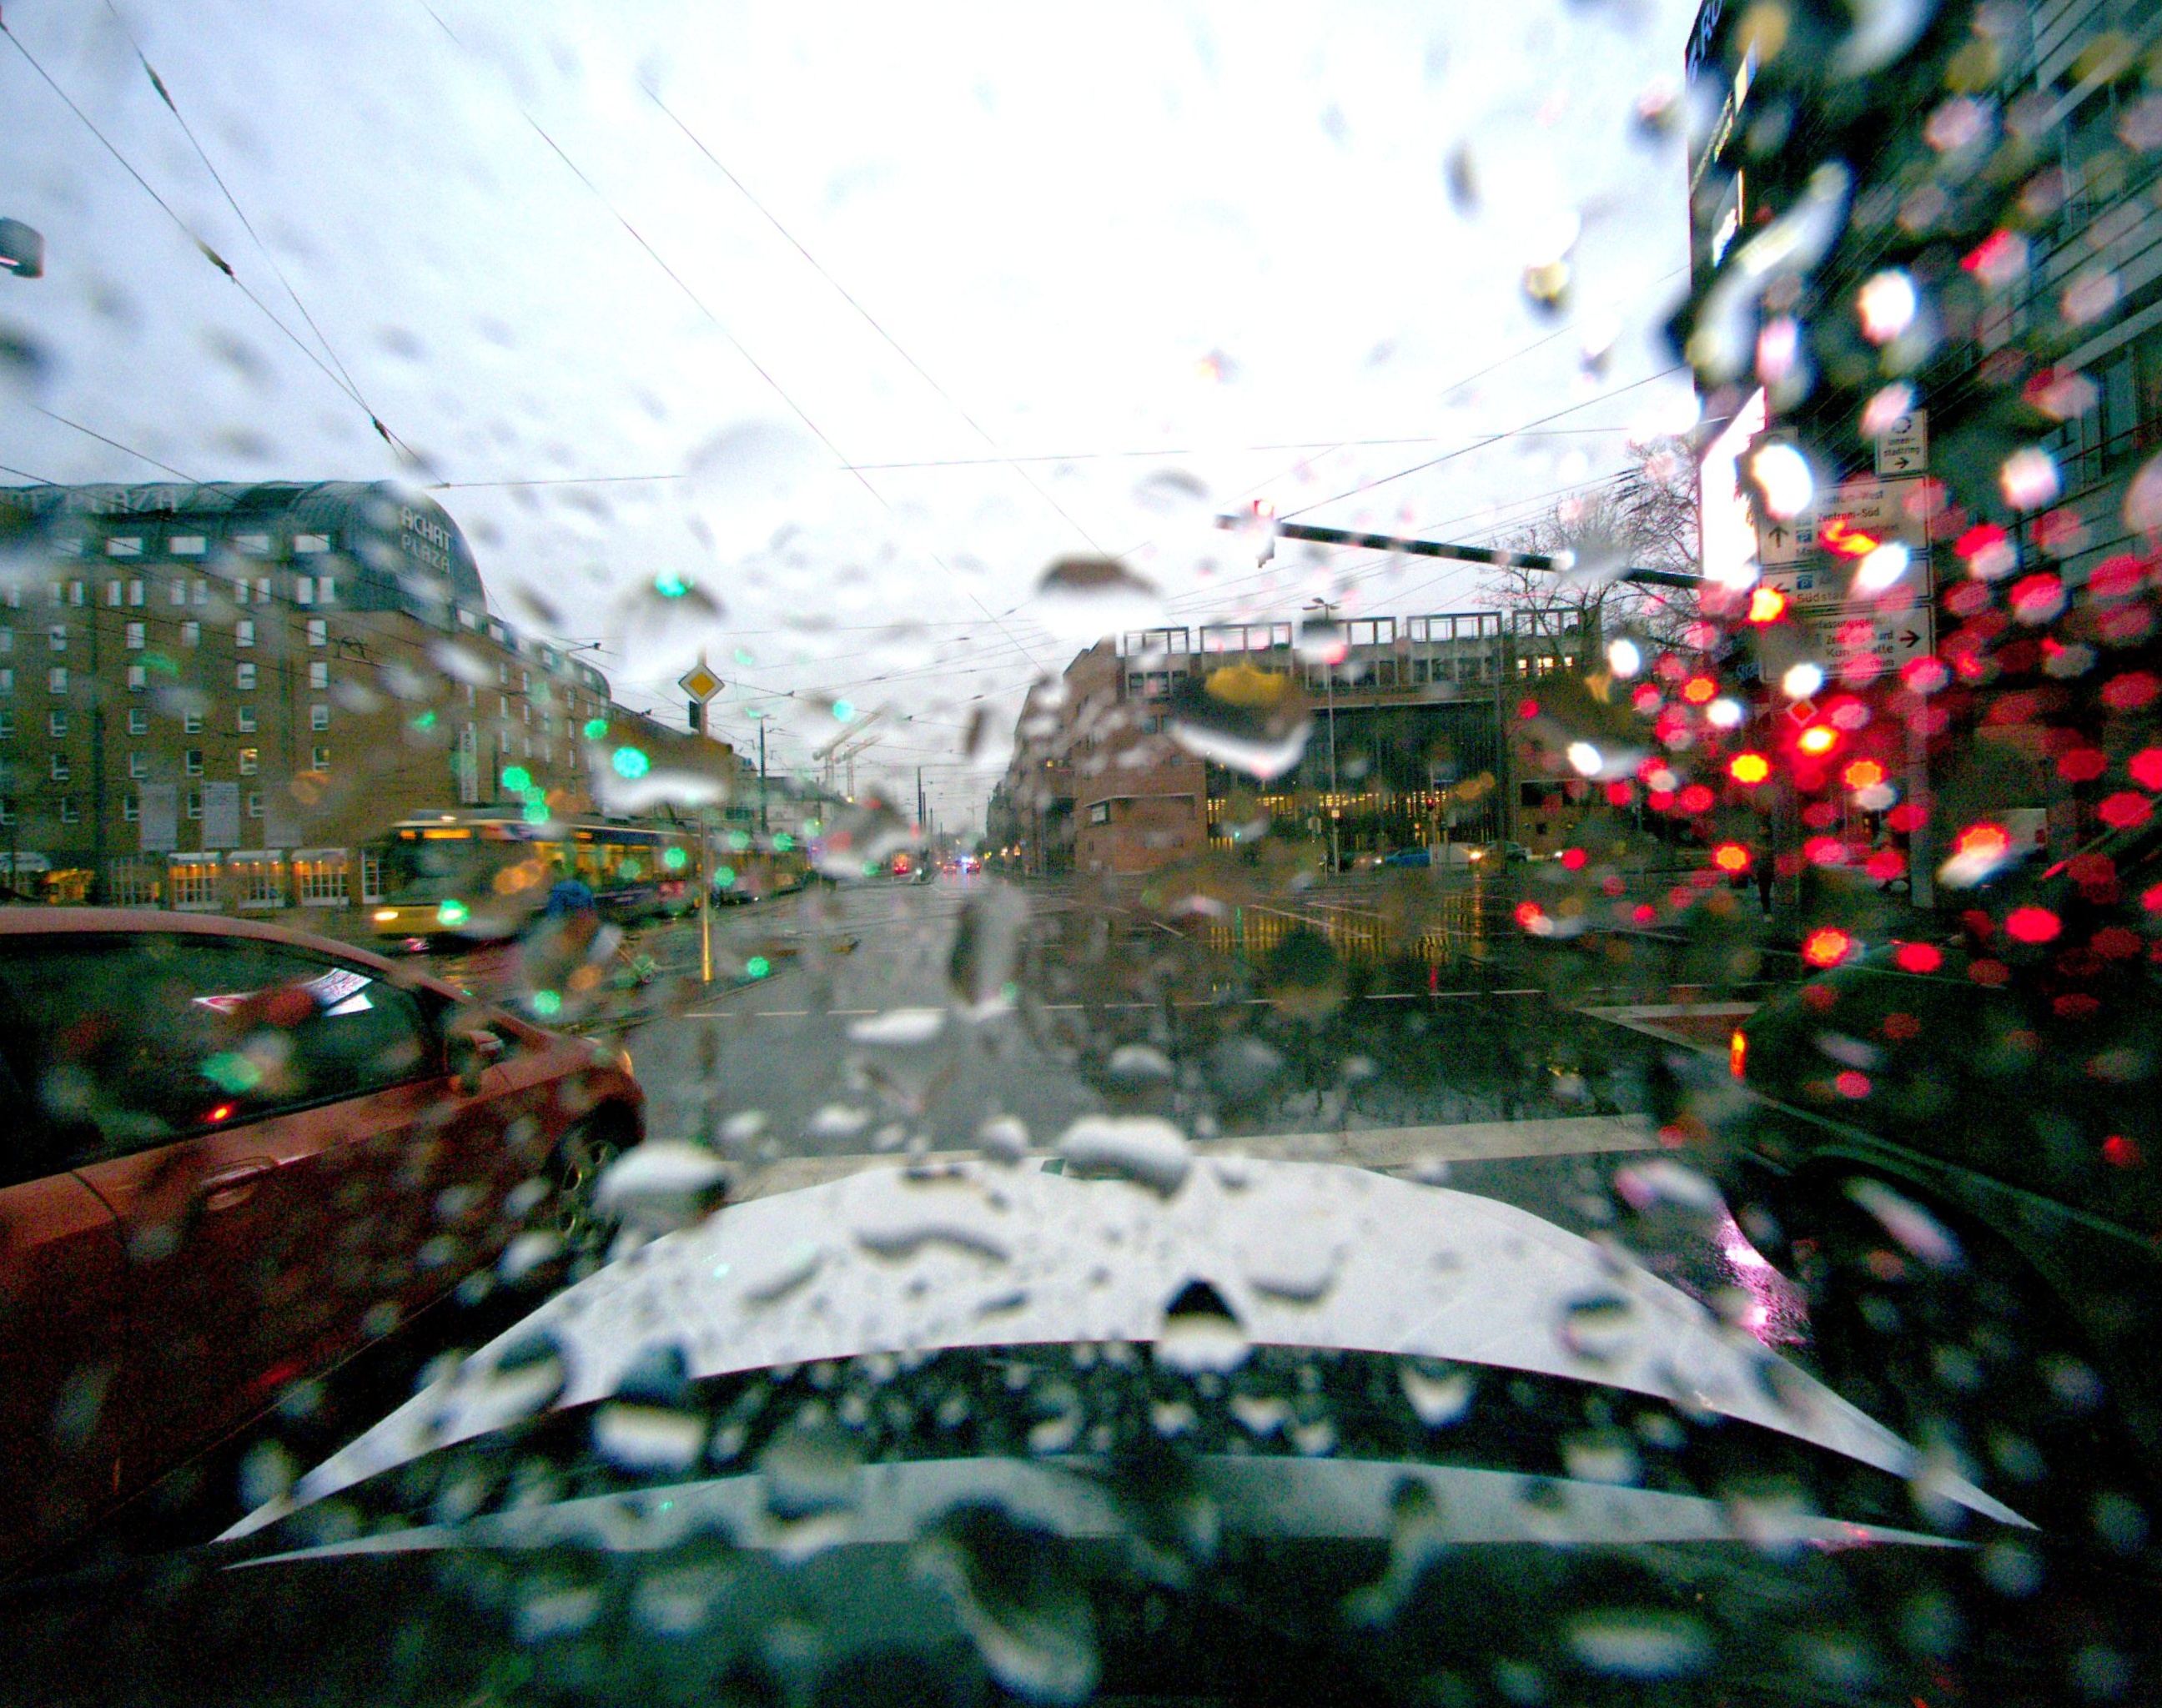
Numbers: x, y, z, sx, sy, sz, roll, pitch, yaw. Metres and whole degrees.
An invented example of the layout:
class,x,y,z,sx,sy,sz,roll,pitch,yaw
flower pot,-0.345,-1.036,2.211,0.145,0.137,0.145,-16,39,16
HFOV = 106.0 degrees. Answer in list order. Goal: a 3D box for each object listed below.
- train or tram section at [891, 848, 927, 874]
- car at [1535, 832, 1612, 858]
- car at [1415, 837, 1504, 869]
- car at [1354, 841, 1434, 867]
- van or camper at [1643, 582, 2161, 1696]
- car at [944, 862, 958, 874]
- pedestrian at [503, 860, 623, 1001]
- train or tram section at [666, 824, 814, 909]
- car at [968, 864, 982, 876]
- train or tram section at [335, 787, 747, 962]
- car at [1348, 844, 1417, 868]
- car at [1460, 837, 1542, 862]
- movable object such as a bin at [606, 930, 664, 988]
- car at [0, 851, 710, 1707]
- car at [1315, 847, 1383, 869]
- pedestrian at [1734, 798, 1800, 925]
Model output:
class,x,y,z,sx,sy,sz,roll,pitch,yaw
train or tram section,-26.003,1.123,124.597,3.189,3.436,27.753,-2,0,-8
car,32.173,-0.614,53.268,3.979,1.504,1.845,-2,4,-4
car,20.447,-0.082,44.087,3.979,1.504,1.845,-2,4,-4
car,18.327,-0.013,47.719,3.979,1.263,1.845,-2,4,-4
van or camper,2.690,0.483,0.493,1.750,1.906,4.420,-1,0,2
car,-18.482,1.970,115.526,1.869,1.579,3.989,0,0,-8
pedestrian,-6.433,0.921,10.133,0.707,1.601,1.043,-5,-1,43
train or tram section,-17.982,0.614,45.082,2.863,3.614,19.154,-2,0,-9
car,-15.428,2.256,118.725,1.868,1.578,3.992,0,1,-6
train or tram section,-15.532,0.505,27.294,2.862,3.614,20.017,-2,0,-7
car,19.159,0.090,51.788,3.713,1.263,1.845,-2,4,-4
car,24.834,-0.284,48.272,3.979,1.288,1.845,-2,4,-4
movable object such as a bin,-5.889,1.375,10.753,0.407,0.699,0.541,-5,-2,42
car,-2.679,0.757,1.950,1.691,1.459,3.759,-2,0,2
car,18.260,0.258,55.639,3.977,1.310,1.998,-2,0,-2
pedestrian,12.179,0.131,14.470,0.574,2.184,0.619,-1,-1,-4
